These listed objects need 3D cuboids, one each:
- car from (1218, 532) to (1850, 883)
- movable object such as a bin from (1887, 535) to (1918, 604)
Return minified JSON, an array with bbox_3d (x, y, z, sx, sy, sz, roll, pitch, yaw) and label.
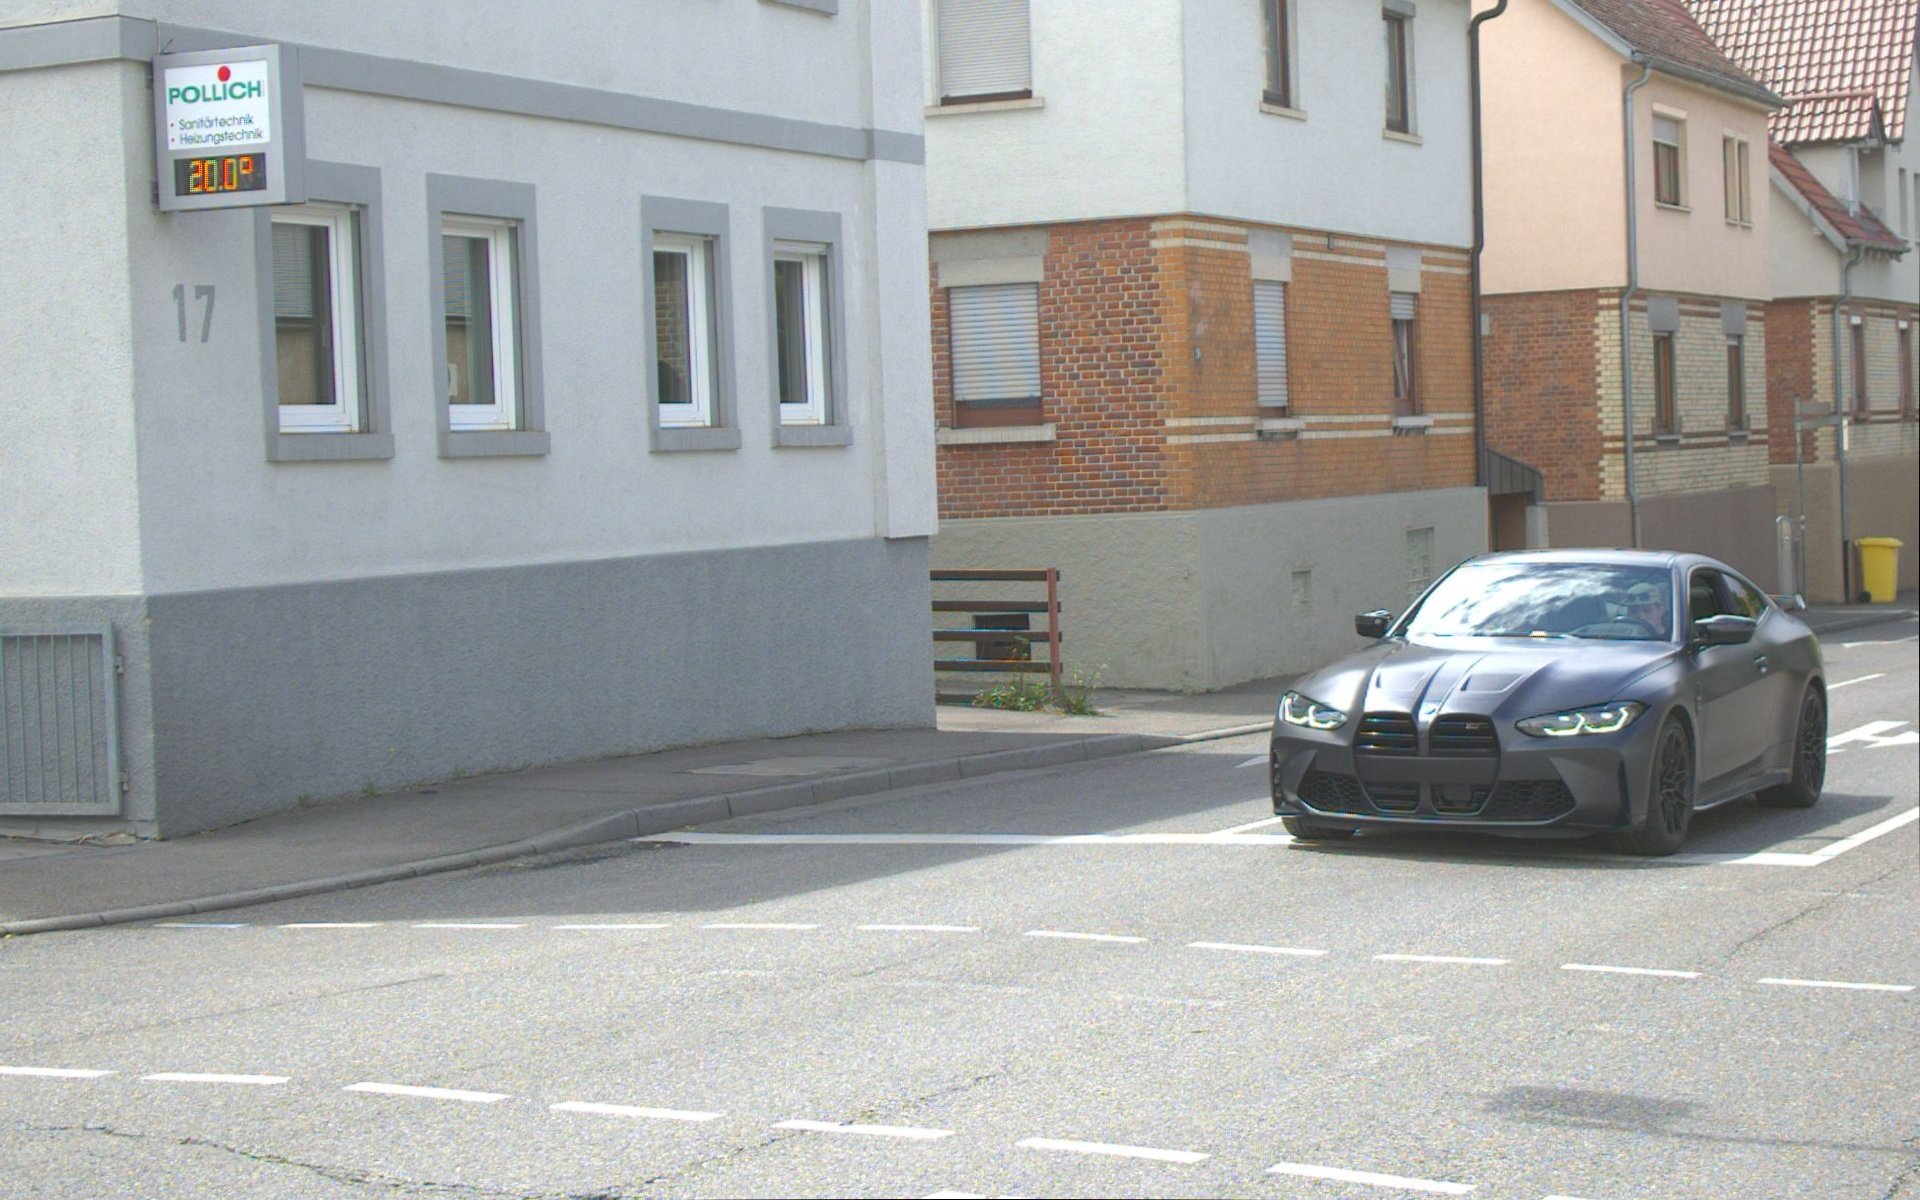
[{"bbox_3d":[3.066,0.420,17.457,1.996,1.452,4.611,1,2,25],"label":"car"},{"bbox_3d":[15.719,-0.509,57.328,0.432,1.124,0.299,-2,1,24],"label":"movable object such as a bin"}]
